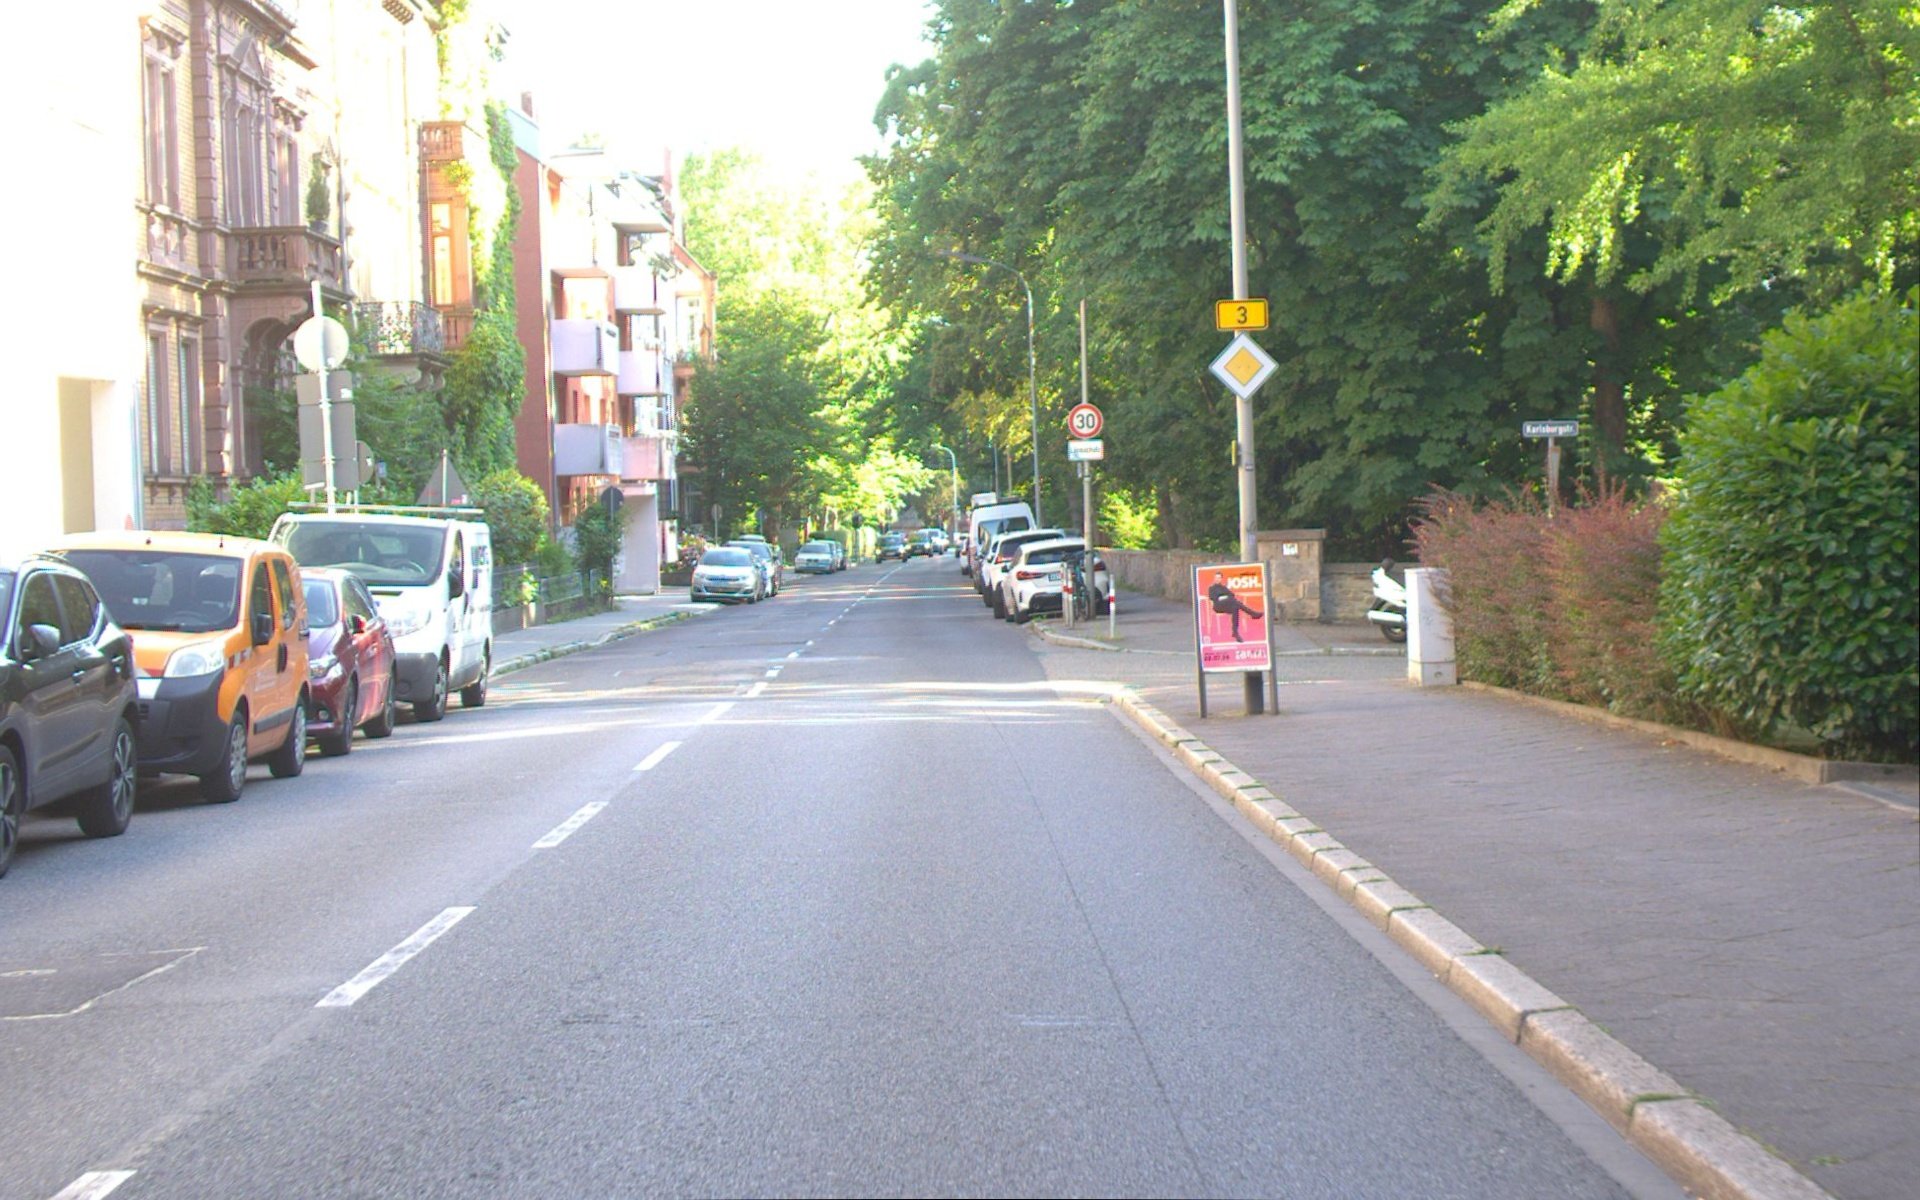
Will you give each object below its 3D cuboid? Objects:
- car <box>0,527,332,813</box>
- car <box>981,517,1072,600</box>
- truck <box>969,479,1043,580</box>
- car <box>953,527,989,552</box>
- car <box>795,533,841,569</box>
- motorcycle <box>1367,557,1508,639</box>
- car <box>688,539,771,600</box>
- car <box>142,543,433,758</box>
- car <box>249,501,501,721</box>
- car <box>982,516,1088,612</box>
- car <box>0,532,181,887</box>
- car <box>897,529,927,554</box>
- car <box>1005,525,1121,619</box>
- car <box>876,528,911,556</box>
[{"bbox_3d":[-5.365,0.388,23.029,1.702,1.732,3.857,0,1,-2],"label":"car"},{"bbox_3d":[1.527,-0.982,79.179,1.993,1.731,4.000,-2,2,1],"label":"car"},{"bbox_3d":[1.356,-2.163,103.999,1.993,2.886,4.471,-2,2,-1],"label":"truck"},{"bbox_3d":[0.722,-3.915,222.163,1.993,1.486,4.471,-2,2,-3],"label":"car"},{"bbox_3d":[-6.671,-2.310,162.001,1.993,1.486,4.471,-2,2,0],"label":"car"},{"bbox_3d":[6.745,-0.032,48.589,1.906,1.108,0.790,0,2,2],"label":"motorcycle"},{"bbox_3d":[-6.336,-0.858,94.929,1.993,1.486,4.471,-2,2,0],"label":"car"},{"bbox_3d":[-5.491,0.355,28.521,1.702,1.614,4.118,0,1,-2],"label":"car"},{"bbox_3d":[-5.686,0.044,33.905,1.793,2.003,4.698,0,1,-2],"label":"car"},{"bbox_3d":[1.490,-0.744,68.503,1.993,1.731,4.000,-2,2,1],"label":"car"},{"bbox_3d":[-5.502,0.508,18.231,1.702,1.702,4.441,0,1,0],"label":"car"},{"bbox_3d":[-3.238,-3.970,232.971,1.993,1.486,4.471,-2,2,0],"label":"car"},{"bbox_3d":[1.853,-0.541,62.915,1.993,1.512,4.000,-2,2,1],"label":"car"},{"bbox_3d":[-3.936,-3.445,203.697,1.993,1.486,4.471,-2,2,0],"label":"car"}]
